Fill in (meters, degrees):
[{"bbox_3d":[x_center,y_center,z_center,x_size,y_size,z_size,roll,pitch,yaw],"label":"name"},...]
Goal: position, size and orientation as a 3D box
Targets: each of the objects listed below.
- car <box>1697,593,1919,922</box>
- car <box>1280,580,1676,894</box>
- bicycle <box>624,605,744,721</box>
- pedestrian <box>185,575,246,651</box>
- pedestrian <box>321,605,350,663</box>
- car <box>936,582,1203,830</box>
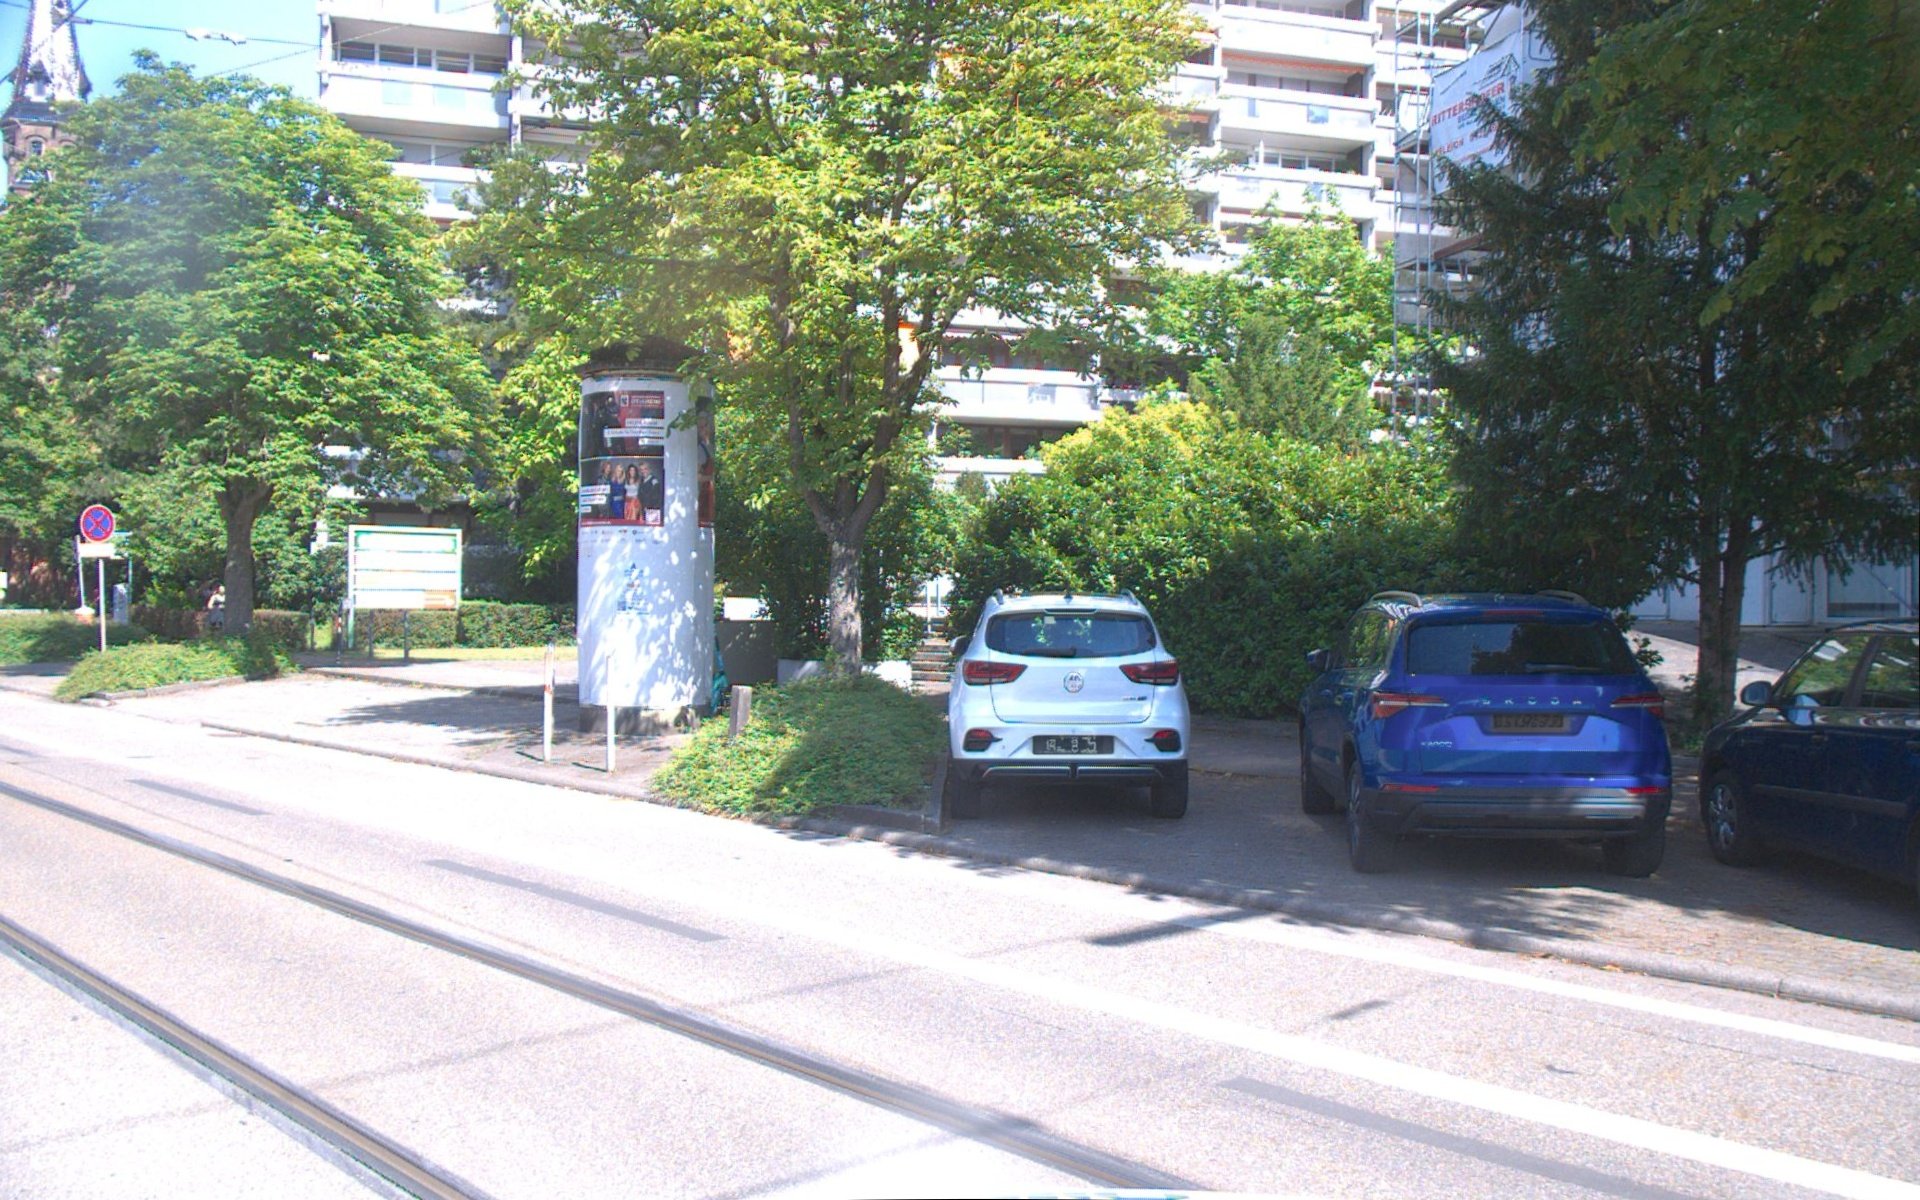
[{"bbox_3d":[5.343,0.760,8.625,1.539,1.558,3.459,1,0,2],"label":"car"},{"bbox_3d":[3.163,0.712,10.875,1.737,1.651,3.948,0,1,6],"label":"car"},{"bbox_3d":[-3.341,0.736,19.953,1.592,1.331,0.543,0,-1,42],"label":"bicycle"},{"bbox_3d":[-18.445,0.323,40.959,1.050,1.829,1.247,3,-2,-39],"label":"pedestrian"},{"bbox_3d":[-12.820,0.701,33.946,0.525,1.174,0.697,1,-1,-21],"label":"pedestrian"},{"bbox_3d":[0.735,0.724,13.214,1.777,1.634,3.945,-1,0,0],"label":"car"}]
